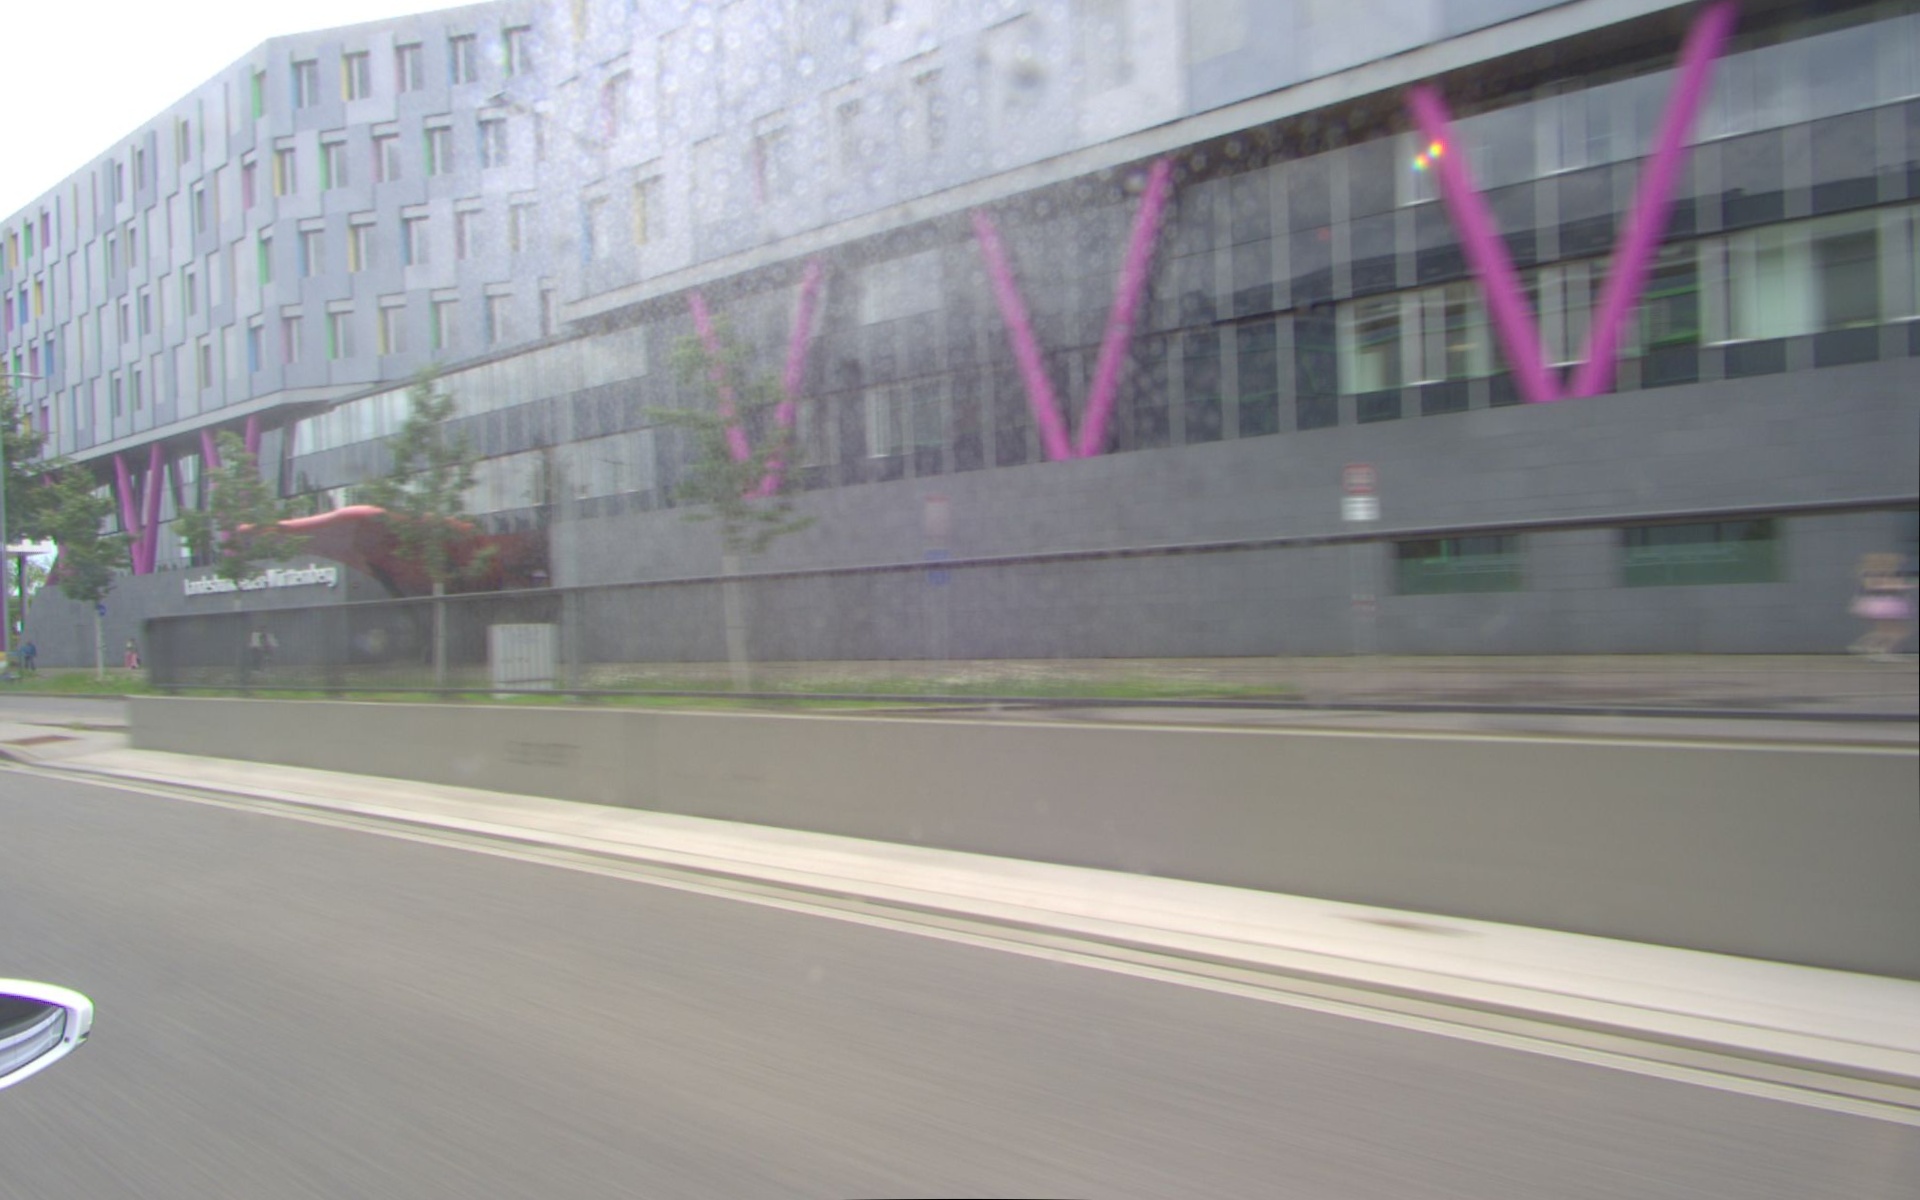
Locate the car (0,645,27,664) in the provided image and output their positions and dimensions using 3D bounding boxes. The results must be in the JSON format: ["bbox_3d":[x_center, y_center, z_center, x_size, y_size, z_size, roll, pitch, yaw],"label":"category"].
[{"bbox_3d":[-86.819,4.965,89.841,1.734,1.636,4.240,-2,-1,33],"label":"car"}]

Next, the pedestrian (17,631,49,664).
[{"bbox_3d":[-52.744,2.689,56.990,1.121,1.794,1.049,-1,0,33],"label":"pedestrian"}]

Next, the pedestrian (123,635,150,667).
[{"bbox_3d":[-42.352,2.597,51.507,0.902,1.603,0.782,-1,0,33],"label":"pedestrian"}]
